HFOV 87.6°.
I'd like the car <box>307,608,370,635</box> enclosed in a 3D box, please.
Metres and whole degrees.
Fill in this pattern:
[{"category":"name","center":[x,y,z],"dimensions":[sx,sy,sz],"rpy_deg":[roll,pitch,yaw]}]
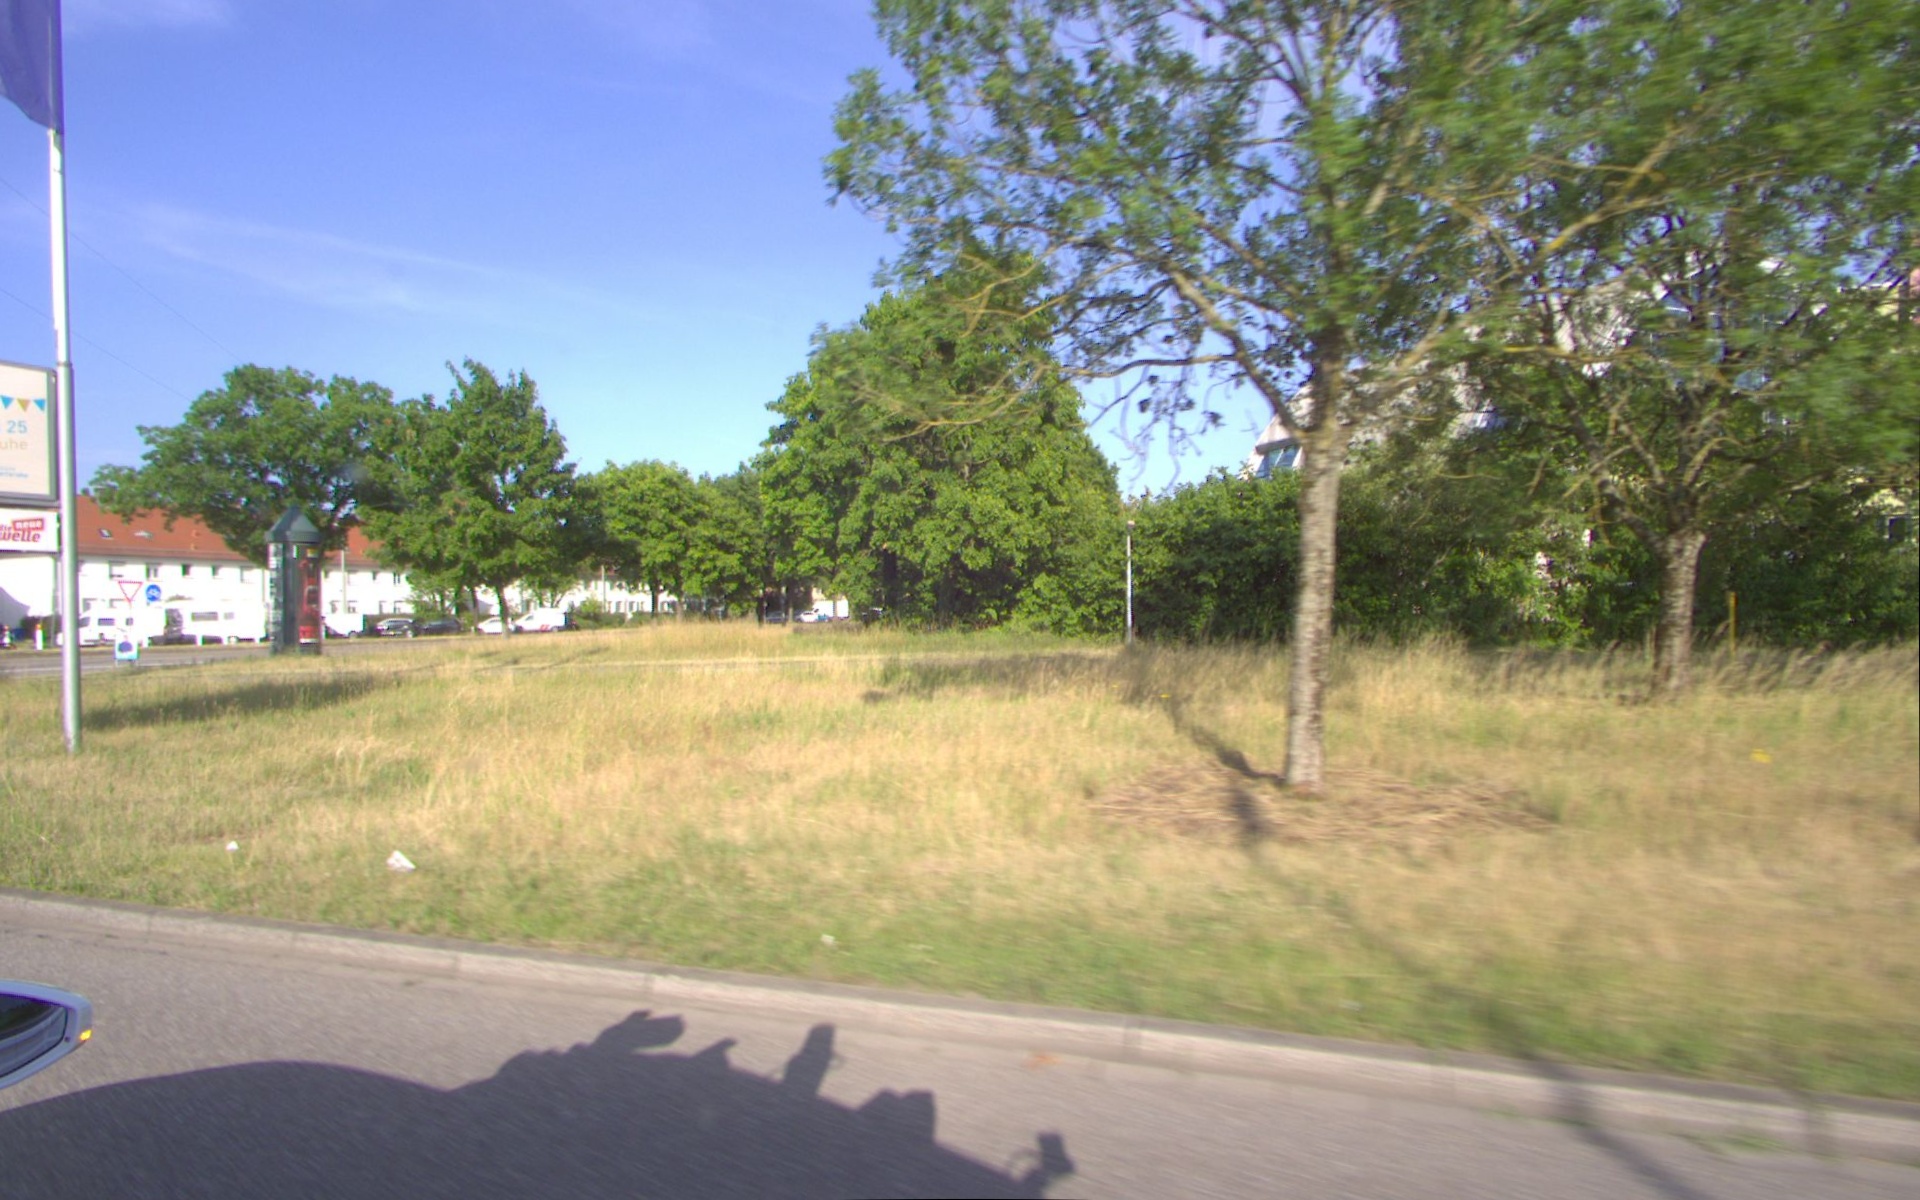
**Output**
[{"category":"car","center":[-47.732,1.647,76.993],"dimensions":[3.847,1.945,1.889],"rpy_deg":[-1,0,-25]}]

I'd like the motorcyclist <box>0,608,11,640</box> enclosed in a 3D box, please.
[{"category":"motorcyclist","center":[-42.031,1.049,43.429],"dimensions":[0.668,1.369,1.067],"rpy_deg":[0,0,20]}]

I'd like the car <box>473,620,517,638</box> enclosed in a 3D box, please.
[{"category":"car","center":[-41.734,2.589,89.896],"dimensions":[3.375,1.534,1.891],"rpy_deg":[-1,0,-21]}]

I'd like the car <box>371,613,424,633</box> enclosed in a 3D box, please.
[{"category":"car","center":[-45.175,1.818,80.475],"dimensions":[3.440,1.534,1.891],"rpy_deg":[-1,0,-21]}]

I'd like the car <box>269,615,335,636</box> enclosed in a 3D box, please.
[{"category":"car","center":[-48.529,1.845,73.913],"dimensions":[3.850,1.475,1.887],"rpy_deg":[-1,0,-28]}]

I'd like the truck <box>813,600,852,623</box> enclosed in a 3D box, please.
[{"category":"truck","center":[-19.279,1.715,151.589],"dimensions":[5.424,3.510,1.990],"rpy_deg":[0,0,-29]}]

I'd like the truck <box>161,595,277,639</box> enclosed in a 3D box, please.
[{"category":"truck","center":[-50.181,1.117,67.968],"dimensions":[5.983,2.892,1.889],"rpy_deg":[-1,0,-25]}]

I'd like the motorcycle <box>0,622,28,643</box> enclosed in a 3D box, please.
[{"category":"motorcycle","center":[-42.030,1.420,43.437],"dimensions":[0.679,0.878,2.274],"rpy_deg":[-1,-1,20]}]

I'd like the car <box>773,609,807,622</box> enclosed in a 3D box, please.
[{"category":"car","center":[-23.802,2.098,140.096],"dimensions":[4.466,1.746,1.994],"rpy_deg":[0,0,-22]}]

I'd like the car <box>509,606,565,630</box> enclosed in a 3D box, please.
[{"category":"car","center":[-40.337,1.709,95.507],"dimensions":[4.900,2.261,1.993],"rpy_deg":[-1,0,-25]}]

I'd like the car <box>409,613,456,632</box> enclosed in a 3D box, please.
[{"category":"car","center":[-45.189,1.900,85.864],"dimensions":[3.375,1.534,1.891],"rpy_deg":[-1,0,-21]}]

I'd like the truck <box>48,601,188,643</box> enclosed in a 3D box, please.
[{"category":"truck","center":[-52.002,1.345,61.996],"dimensions":[6.241,2.557,2.275],"rpy_deg":[0,0,-14]}]
